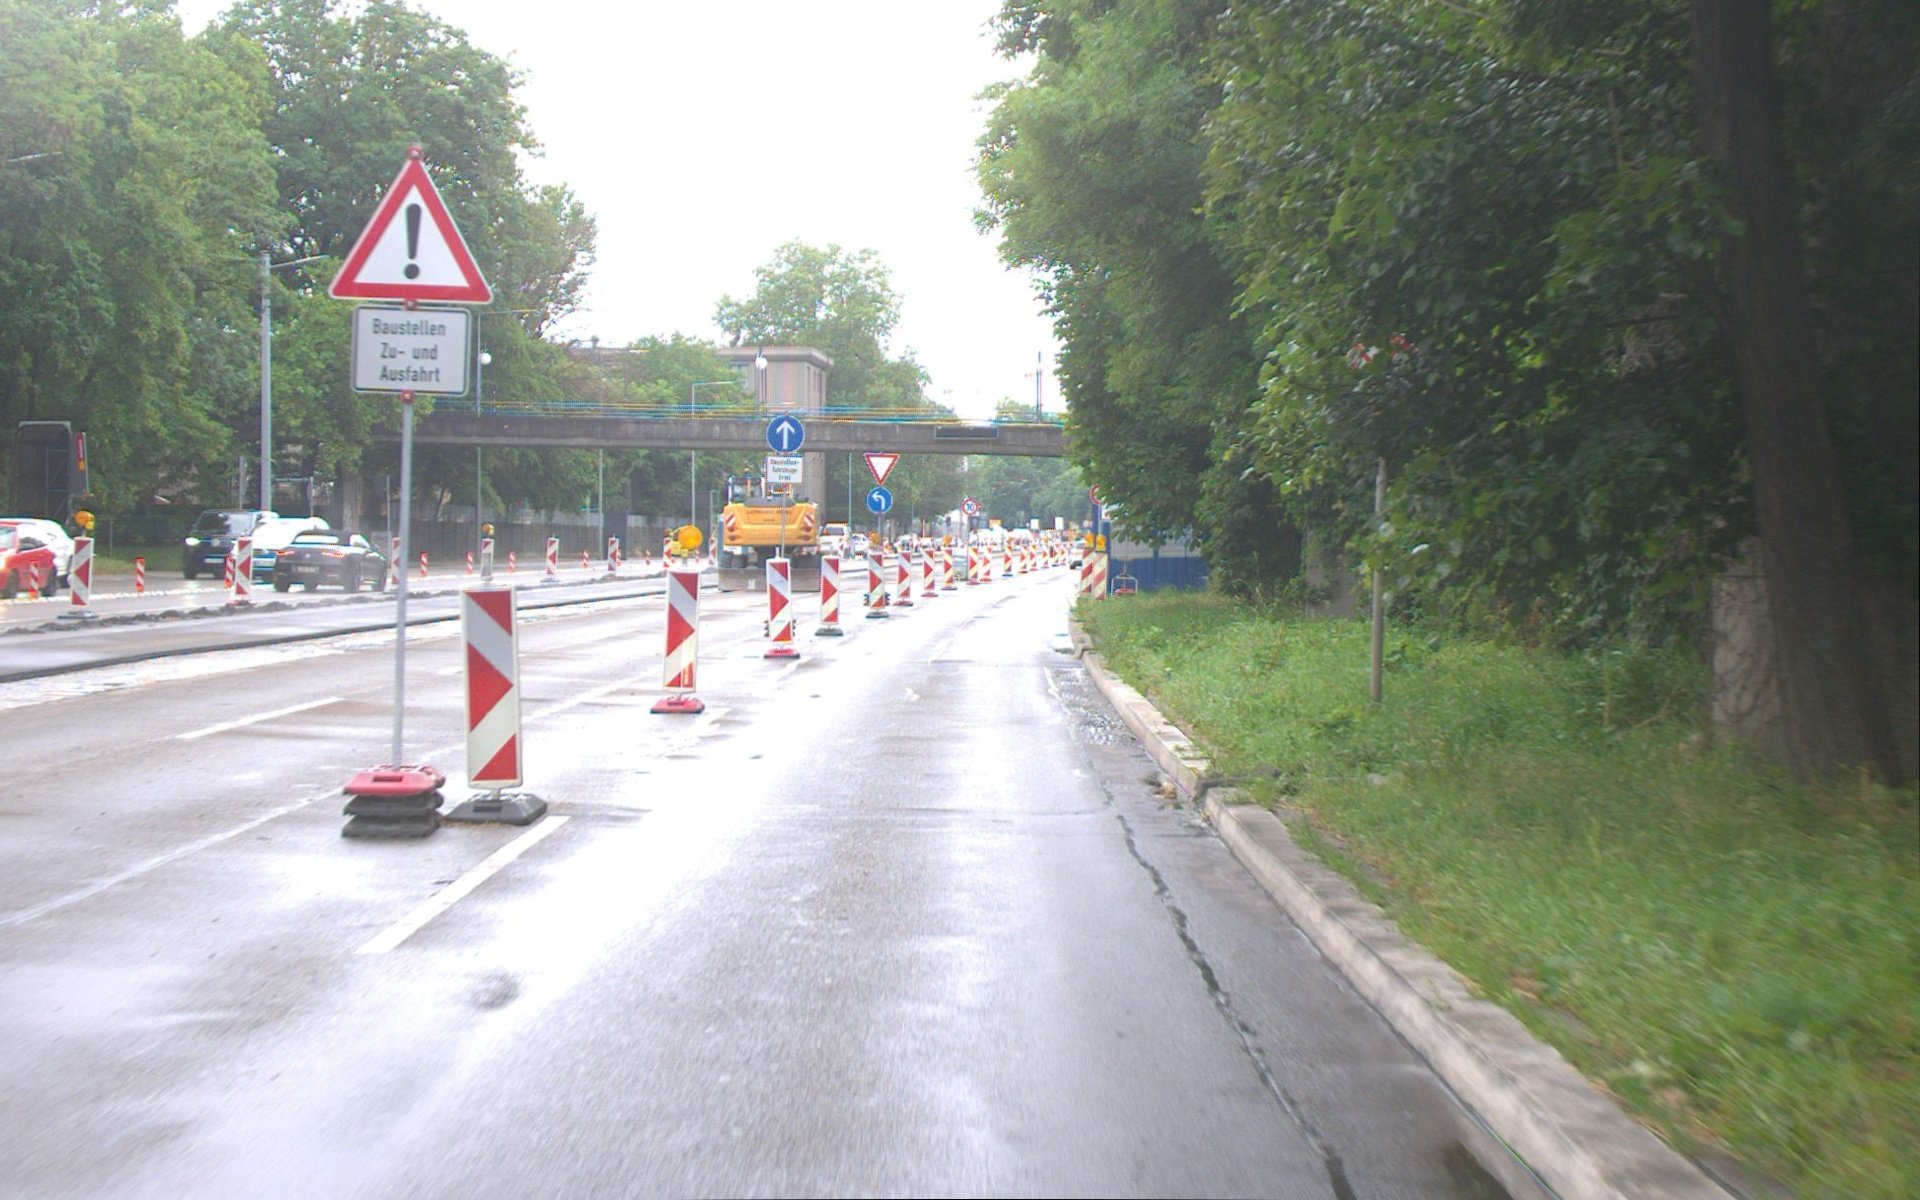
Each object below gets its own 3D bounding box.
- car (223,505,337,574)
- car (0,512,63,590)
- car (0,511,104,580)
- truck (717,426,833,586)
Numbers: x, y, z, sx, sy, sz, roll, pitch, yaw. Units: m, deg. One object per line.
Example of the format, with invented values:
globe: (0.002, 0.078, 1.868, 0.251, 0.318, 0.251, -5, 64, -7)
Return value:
car: (-17.283, -1.537, 87.610, 1.890, 1.655, 4.893, 1, 1, 0)
car: (-18.054, -0.940, 63.862, 1.679, 1.396, 4.013, 1, 1, 1)
car: (-20.509, -1.233, 76.788, 1.679, 1.491, 4.149, -1, 1, 1)
truck: (-5.202, -2.642, 98.371, 2.897, 4.244, 10.757, 2, 1, -1)
